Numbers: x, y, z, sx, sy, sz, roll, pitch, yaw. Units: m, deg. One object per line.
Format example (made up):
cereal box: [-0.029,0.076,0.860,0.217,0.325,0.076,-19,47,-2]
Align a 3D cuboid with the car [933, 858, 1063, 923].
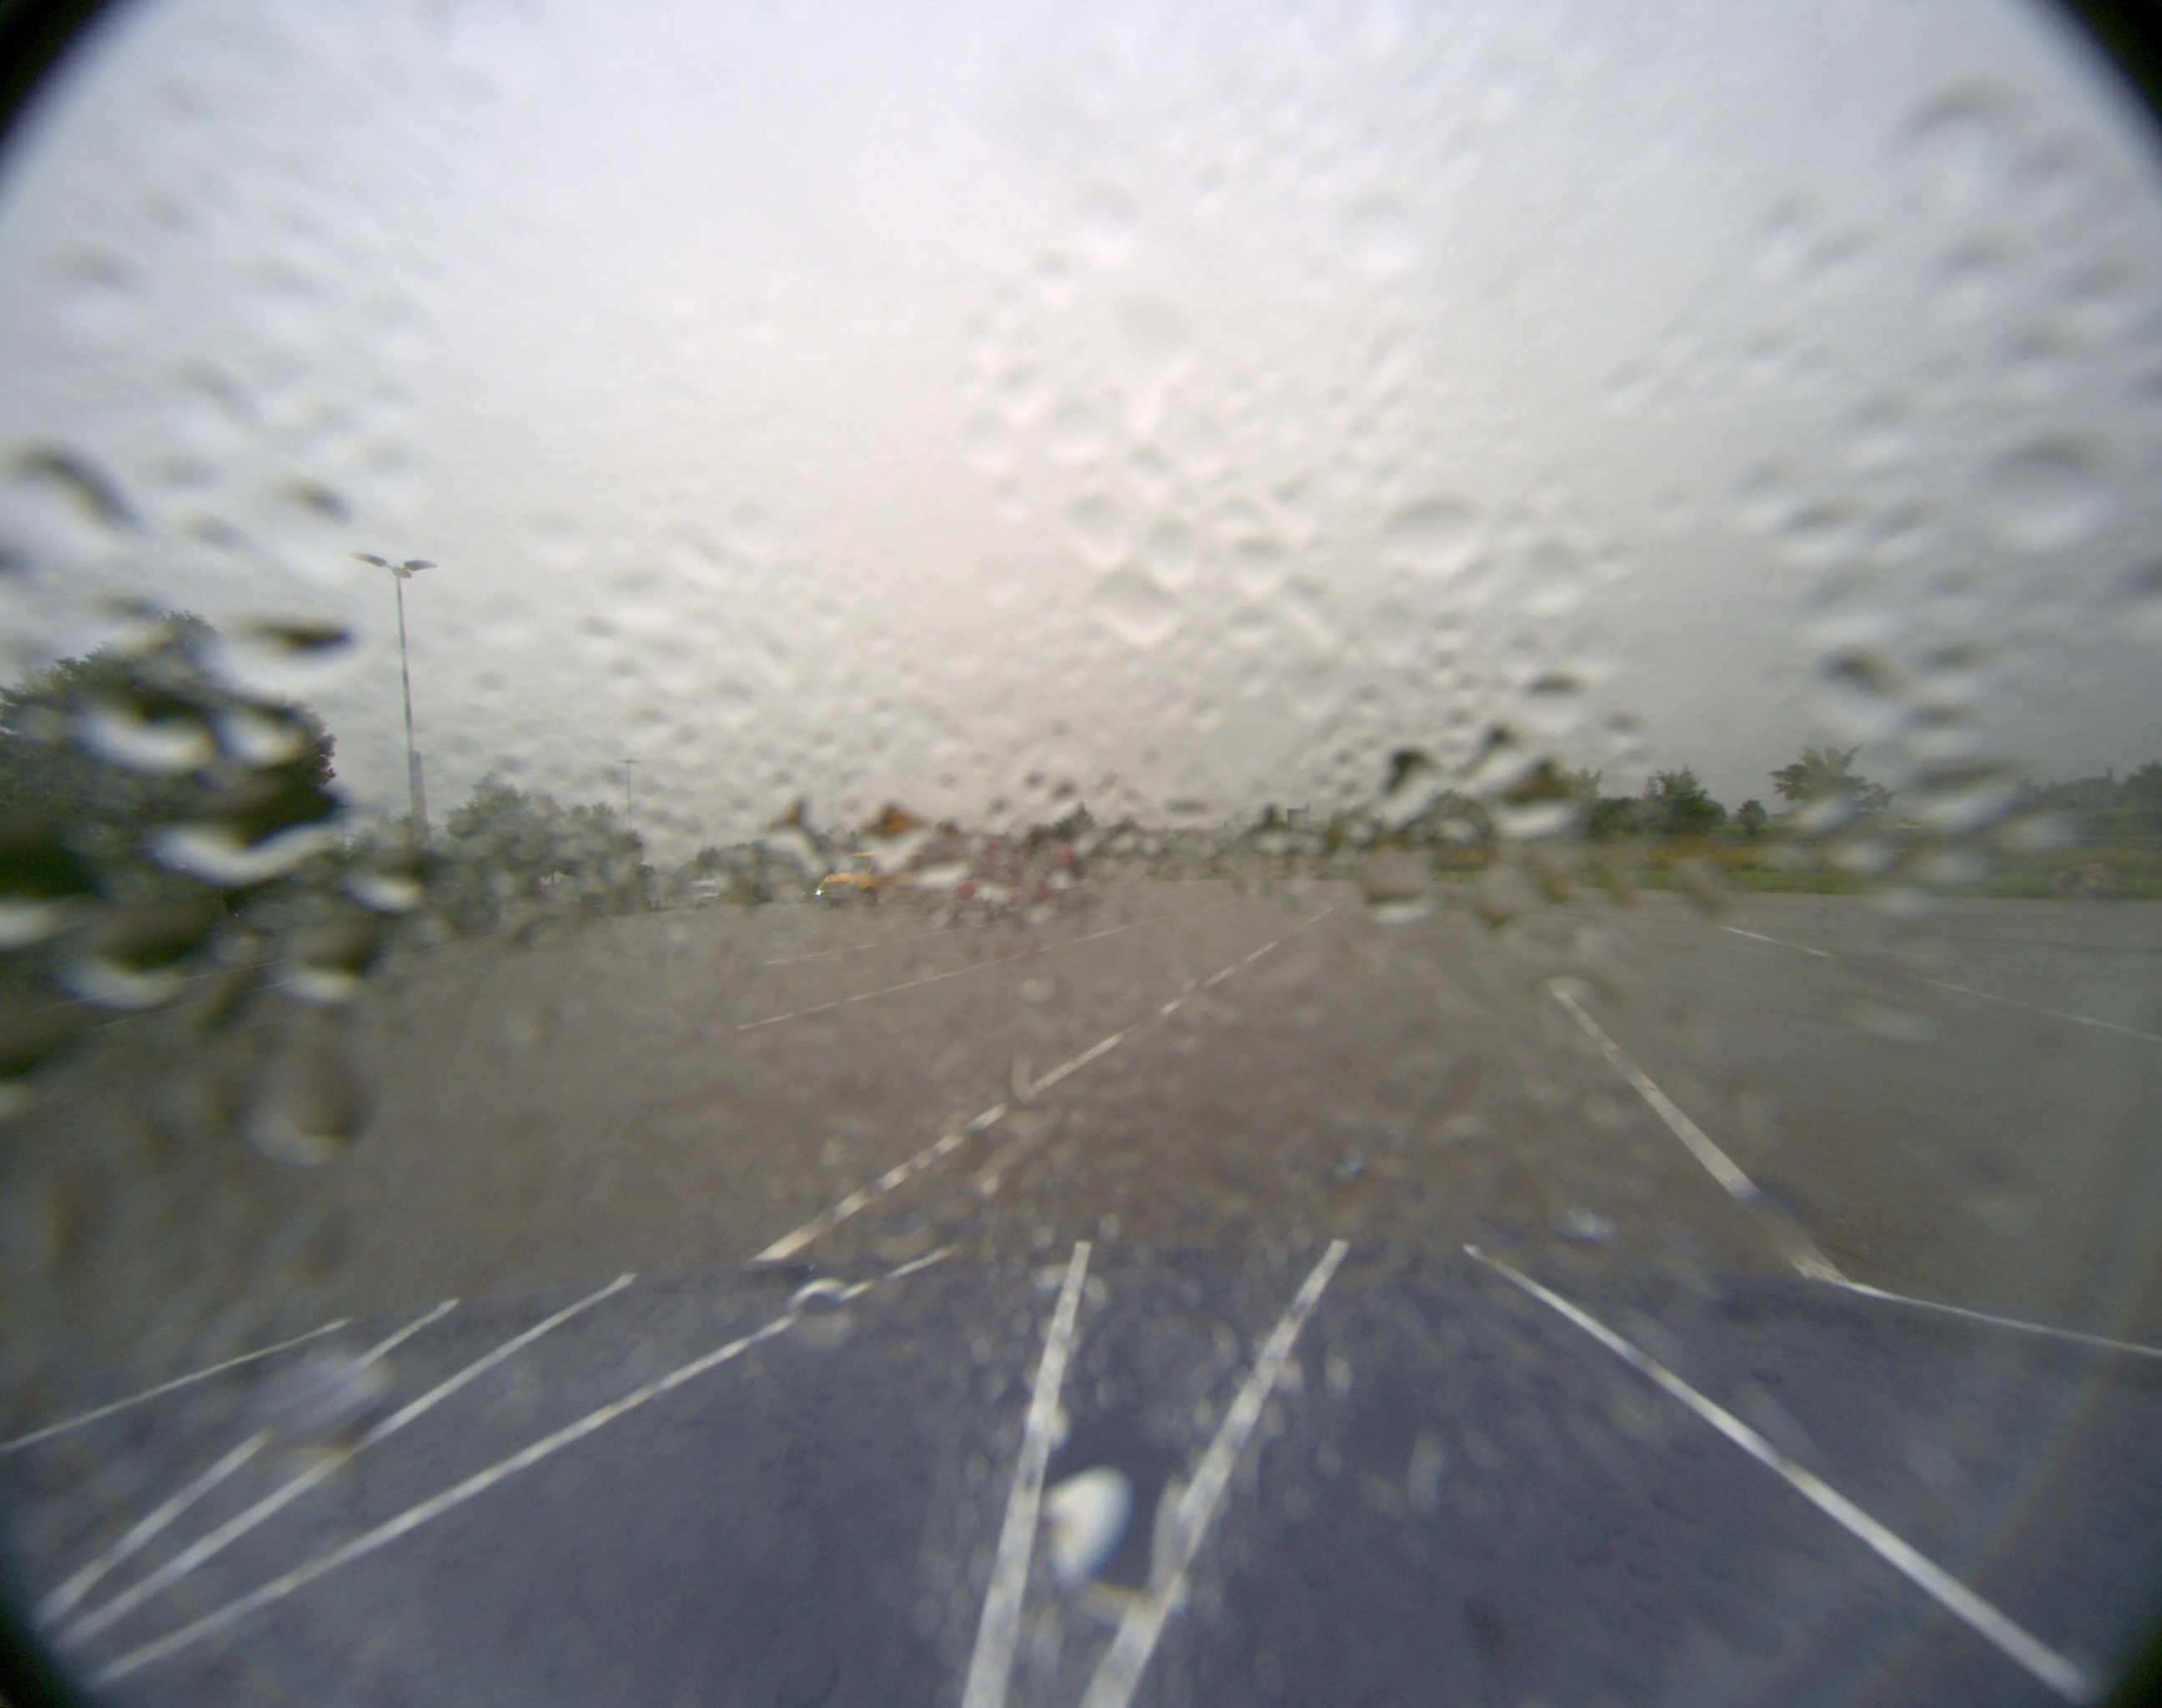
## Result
car: [-2.193,0.941,21.215,1.546,1.546,4.063,-2,0,28]

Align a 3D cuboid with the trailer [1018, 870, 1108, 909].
trailer: [-0.514,1.115,24.398,1.585,1.061,3.036,-3,-1,28]

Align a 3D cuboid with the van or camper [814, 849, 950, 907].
van or camper: [-8.546,0.976,33.465,2.129,2.233,6.428,-2,0,25]

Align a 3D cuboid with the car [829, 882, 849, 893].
car: [-28.353,3.910,88.967,1.711,0.994,3.760,-2,0,-25]
